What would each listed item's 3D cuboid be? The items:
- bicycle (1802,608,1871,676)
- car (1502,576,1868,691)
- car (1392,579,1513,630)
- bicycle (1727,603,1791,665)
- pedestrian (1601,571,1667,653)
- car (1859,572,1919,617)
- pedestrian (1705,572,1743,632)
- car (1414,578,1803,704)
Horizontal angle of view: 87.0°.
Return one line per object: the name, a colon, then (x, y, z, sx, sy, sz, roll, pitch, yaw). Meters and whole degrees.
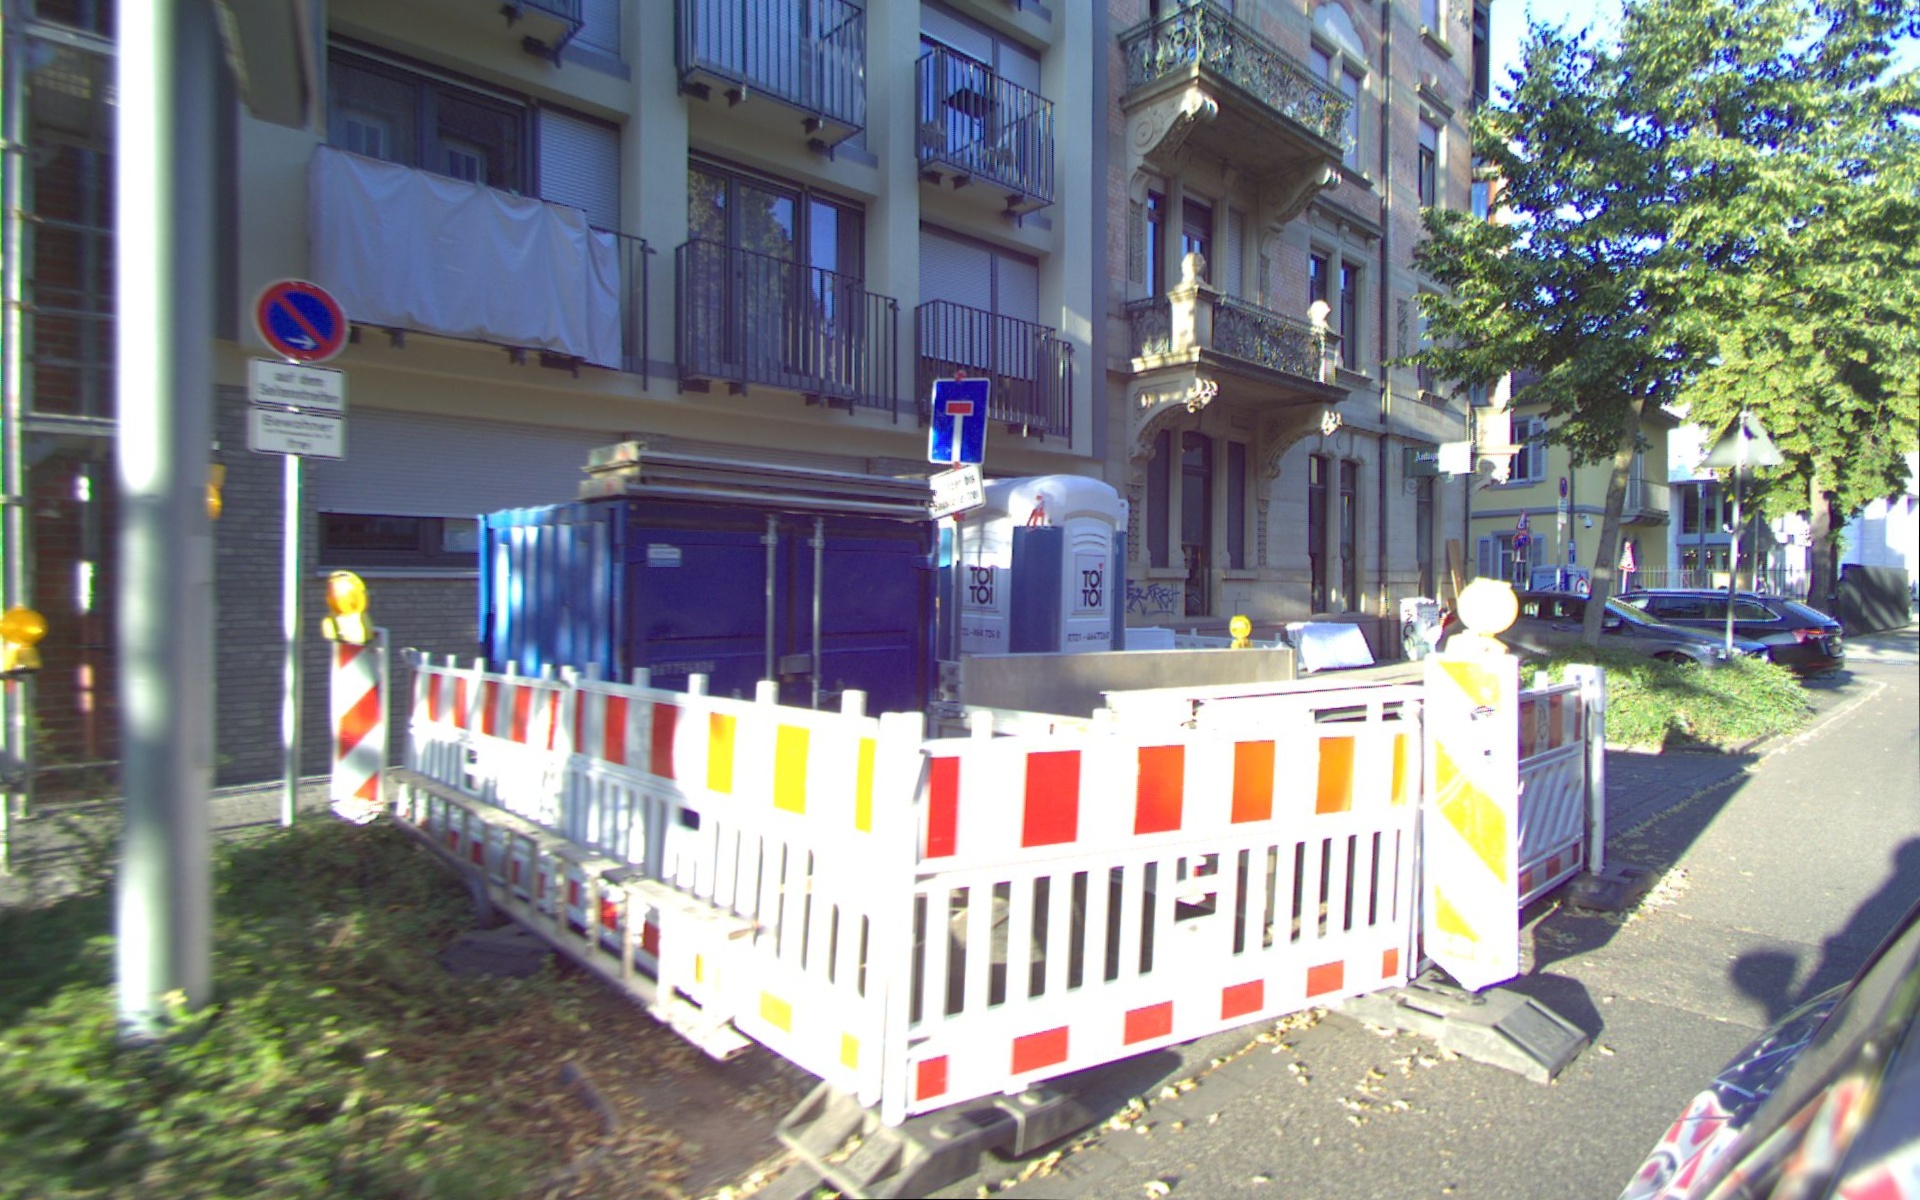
bicycle: (14.900, 0.682, 17.189, 1.799, 1.060, 0.571, 0, 1, -39)
car: (11.602, 0.415, 16.471, 1.878, 1.529, 4.535, 0, 2, -41)
car: (15.989, 0.124, 32.986, 1.515, 1.539, 3.224, 1, 0, -31)
bicycle: (14.395, 0.586, 18.222, 1.801, 1.026, 0.638, -1, 1, -43)
pedestrian: (14.148, 0.249, 21.267, 0.943, 1.680, 0.638, 0, 0, 7)
car: (39.924, -0.268, 42.981, 3.988, 1.757, 1.710, -1, 4, -36)
pedestrian: (20.883, 0.039, 27.668, 0.459, 1.614, 0.674, 0, 1, -29)
car: (9.450, 0.461, 15.115, 1.834, 1.497, 4.538, -1, 3, -38)
